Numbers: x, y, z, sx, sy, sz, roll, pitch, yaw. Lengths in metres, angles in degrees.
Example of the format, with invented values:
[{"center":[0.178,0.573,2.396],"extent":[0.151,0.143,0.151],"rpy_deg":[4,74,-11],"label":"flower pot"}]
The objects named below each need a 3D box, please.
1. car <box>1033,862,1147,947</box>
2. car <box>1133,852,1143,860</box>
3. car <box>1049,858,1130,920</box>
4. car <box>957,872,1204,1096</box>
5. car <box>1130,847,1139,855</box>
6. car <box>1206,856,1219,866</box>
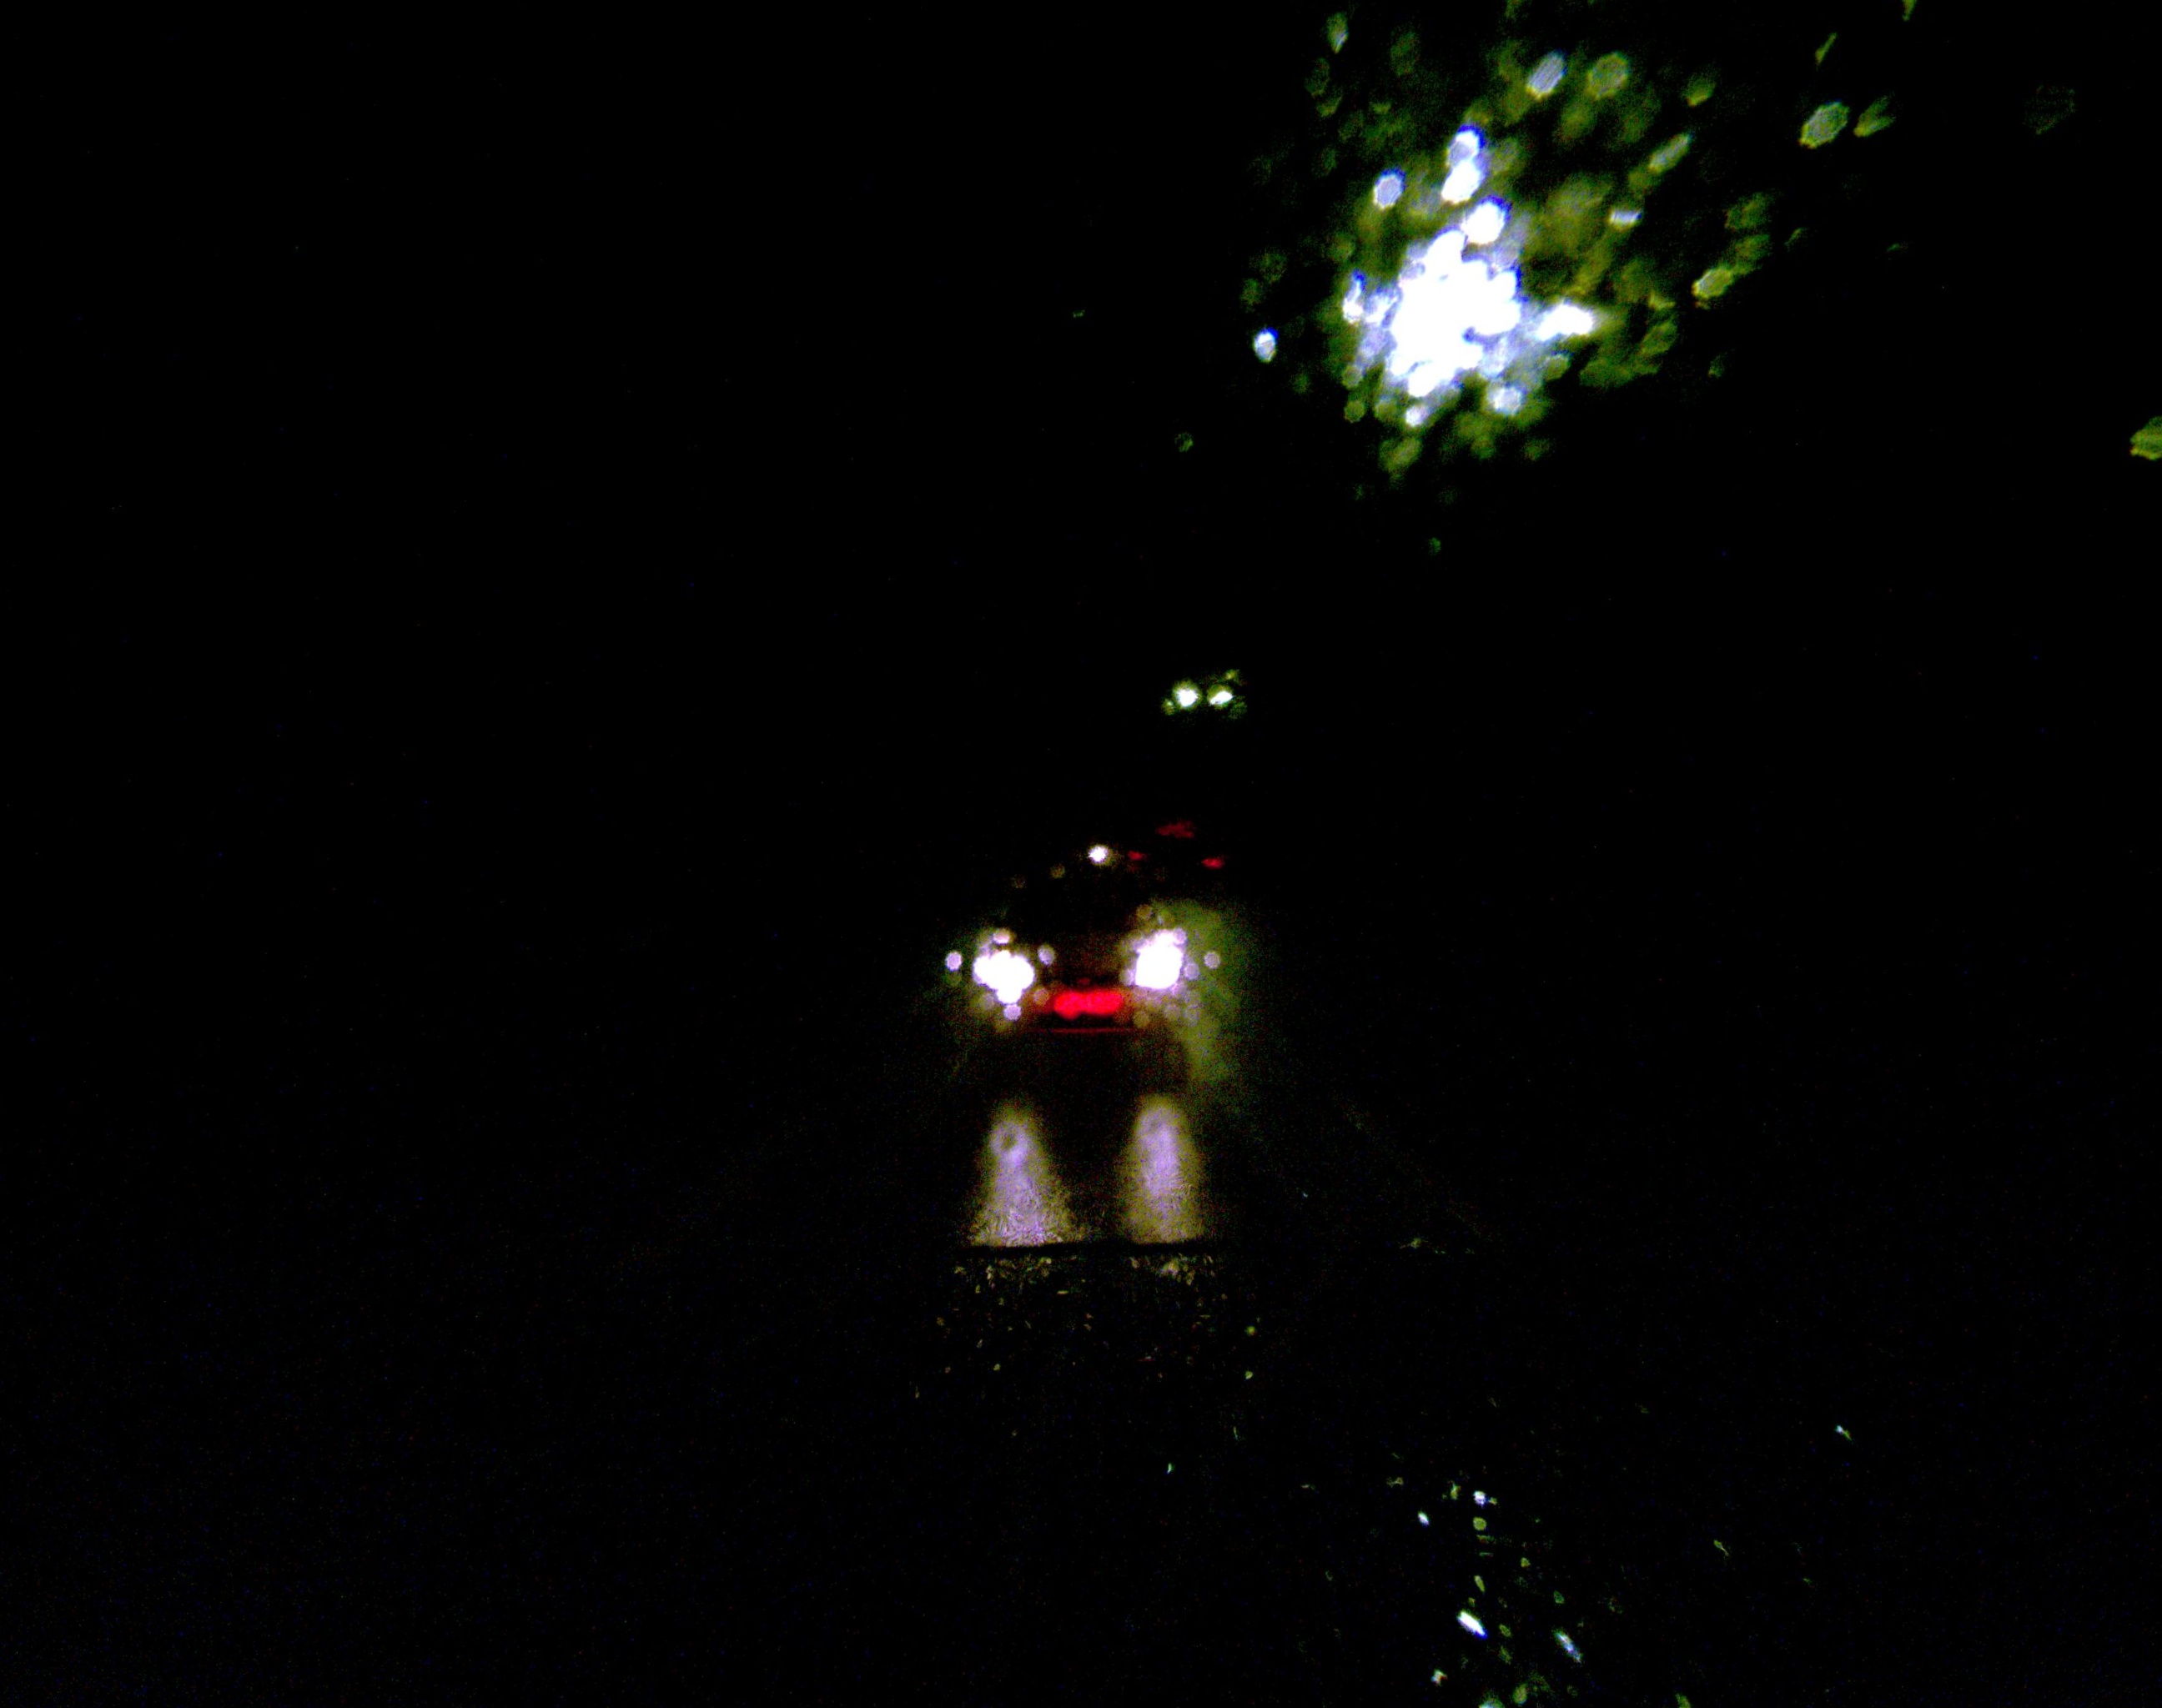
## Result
[{"center":[0.191,0.921,15.512],"extent":[1.998,1.455,4.000],"rpy_deg":[-1,0,1],"label":"car"},{"center":[11.991,0.495,159.293],"extent":[1.788,1.637,4.000],"rpy_deg":[-2,0,0],"label":"car"},{"center":[0.244,0.893,21.113],"extent":[1.998,1.531,4.000],"rpy_deg":[-1,0,1],"label":"car"},{"center":[0.026,0.999,7.557],"extent":[1.764,1.492,4.000],"rpy_deg":[-2,0,1],"label":"car"},{"center":[12.362,-0.700,175.445],"extent":[1.788,1.637,3.999],"rpy_deg":[-2,0,-1],"label":"car"},{"center":[24.368,1.298,140.702],"extent":[1.866,1.637,4.001],"rpy_deg":[-2,0,3],"label":"car"}]
